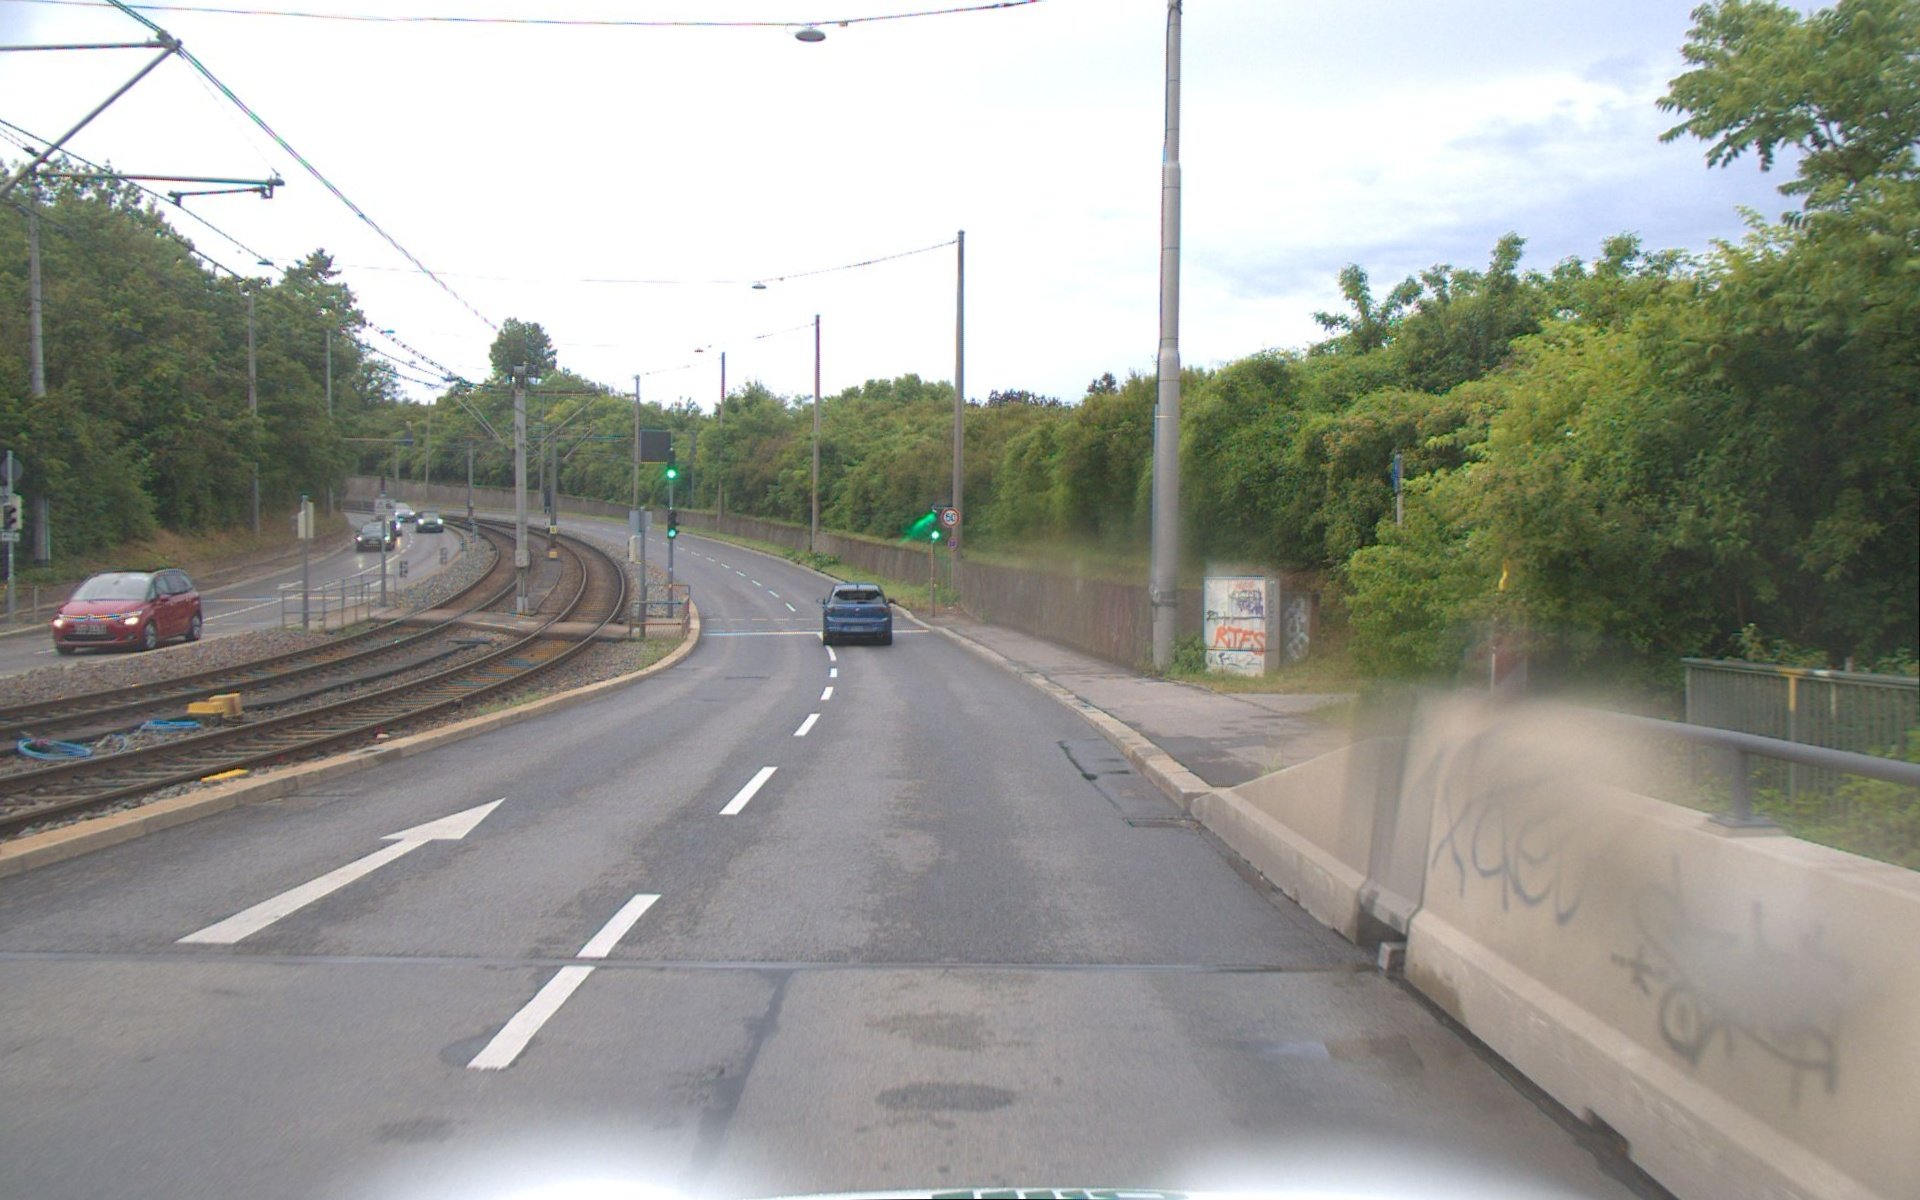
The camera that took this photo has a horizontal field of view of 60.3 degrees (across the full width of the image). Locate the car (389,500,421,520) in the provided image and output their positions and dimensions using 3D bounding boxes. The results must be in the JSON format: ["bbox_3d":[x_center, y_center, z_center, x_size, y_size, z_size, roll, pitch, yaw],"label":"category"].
[{"bbox_3d":[-45.419,-7.378,135.319,1.839,1.463,4.816,-4,6,-26],"label":"car"}]

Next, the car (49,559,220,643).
[{"bbox_3d":[-17.643,-0.043,35.618,1.813,1.625,4.724,-1,2,-8],"label":"car"}]

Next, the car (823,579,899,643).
[{"bbox_3d":[-2.562,0.256,42.001,1.730,1.527,3.994,1,0,-6],"label":"car"}]

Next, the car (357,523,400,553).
[{"bbox_3d":[-31.258,-3.369,88.976,1.687,1.483,4.262,-2,3,-13],"label":"car"}]

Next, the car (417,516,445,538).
[{"bbox_3d":[-36.678,-5.051,114.572,1.609,1.408,3.871,-3,4,-21],"label":"car"}]
